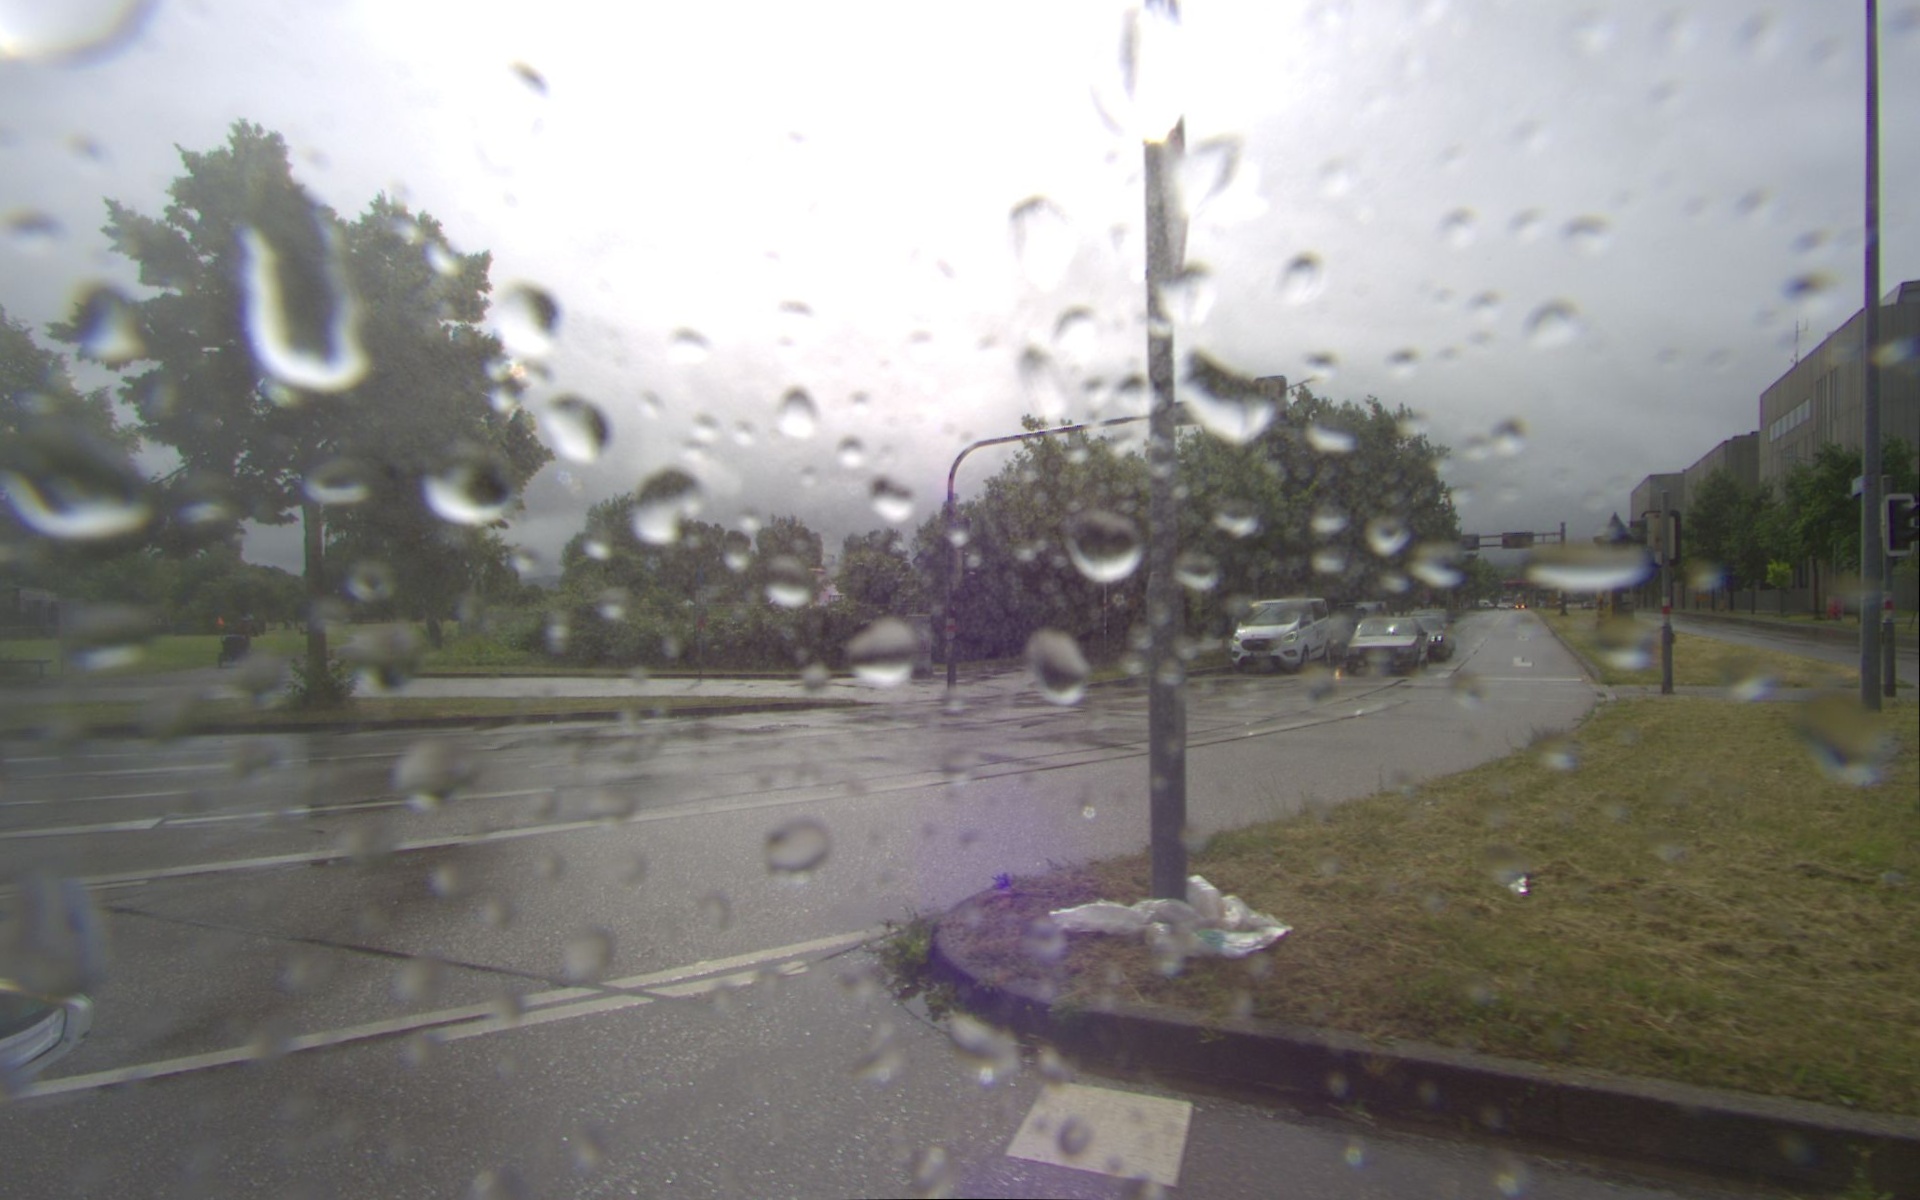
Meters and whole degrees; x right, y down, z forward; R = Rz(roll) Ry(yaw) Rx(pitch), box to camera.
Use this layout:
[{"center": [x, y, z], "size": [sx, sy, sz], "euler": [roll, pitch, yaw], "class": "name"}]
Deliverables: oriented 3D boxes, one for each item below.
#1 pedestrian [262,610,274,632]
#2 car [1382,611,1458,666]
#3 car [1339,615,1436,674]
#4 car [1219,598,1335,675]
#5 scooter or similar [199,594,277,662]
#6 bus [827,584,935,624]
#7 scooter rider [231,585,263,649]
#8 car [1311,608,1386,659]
[{"center": [-55.340, 1.713, 80.093], "size": [0.588, 1.754, 0.605], "euler": [-1, -1, -5], "class": "pedestrian"}, {"center": [14.789, 1.168, 32.049], "size": [1.839, 1.556, 4.466], "euler": [0, 1, 30], "class": "car"}, {"center": [11.241, 1.100, 26.164], "size": [1.839, 1.398, 4.531], "euler": [0, -1, 30], "class": "car"}, {"center": [9.137, 0.988, 28.609], "size": [2.049, 2.013, 4.776], "euler": [0, -1, 32], "class": "car"}, {"center": [-22.792, 0.910, 31.720], "size": [1.219, 2.039, 3.401], "euler": [-1, -2, -22], "class": "scooter or similar"}, {"center": [-7.866, 0.438, 98.945], "size": [10.801, 3.503, 1.996], "euler": [-2, -2, 22], "class": "bus"}, {"center": [-23.124, 0.567, 32.488], "size": [0.695, 2.039, 0.768], "euler": [-1, -2, -25], "class": "scooter rider"}, {"center": [16.325, 1.346, 41.913], "size": [2.049, 2.013, 4.775], "euler": [0, -1, 32], "class": "car"}]
